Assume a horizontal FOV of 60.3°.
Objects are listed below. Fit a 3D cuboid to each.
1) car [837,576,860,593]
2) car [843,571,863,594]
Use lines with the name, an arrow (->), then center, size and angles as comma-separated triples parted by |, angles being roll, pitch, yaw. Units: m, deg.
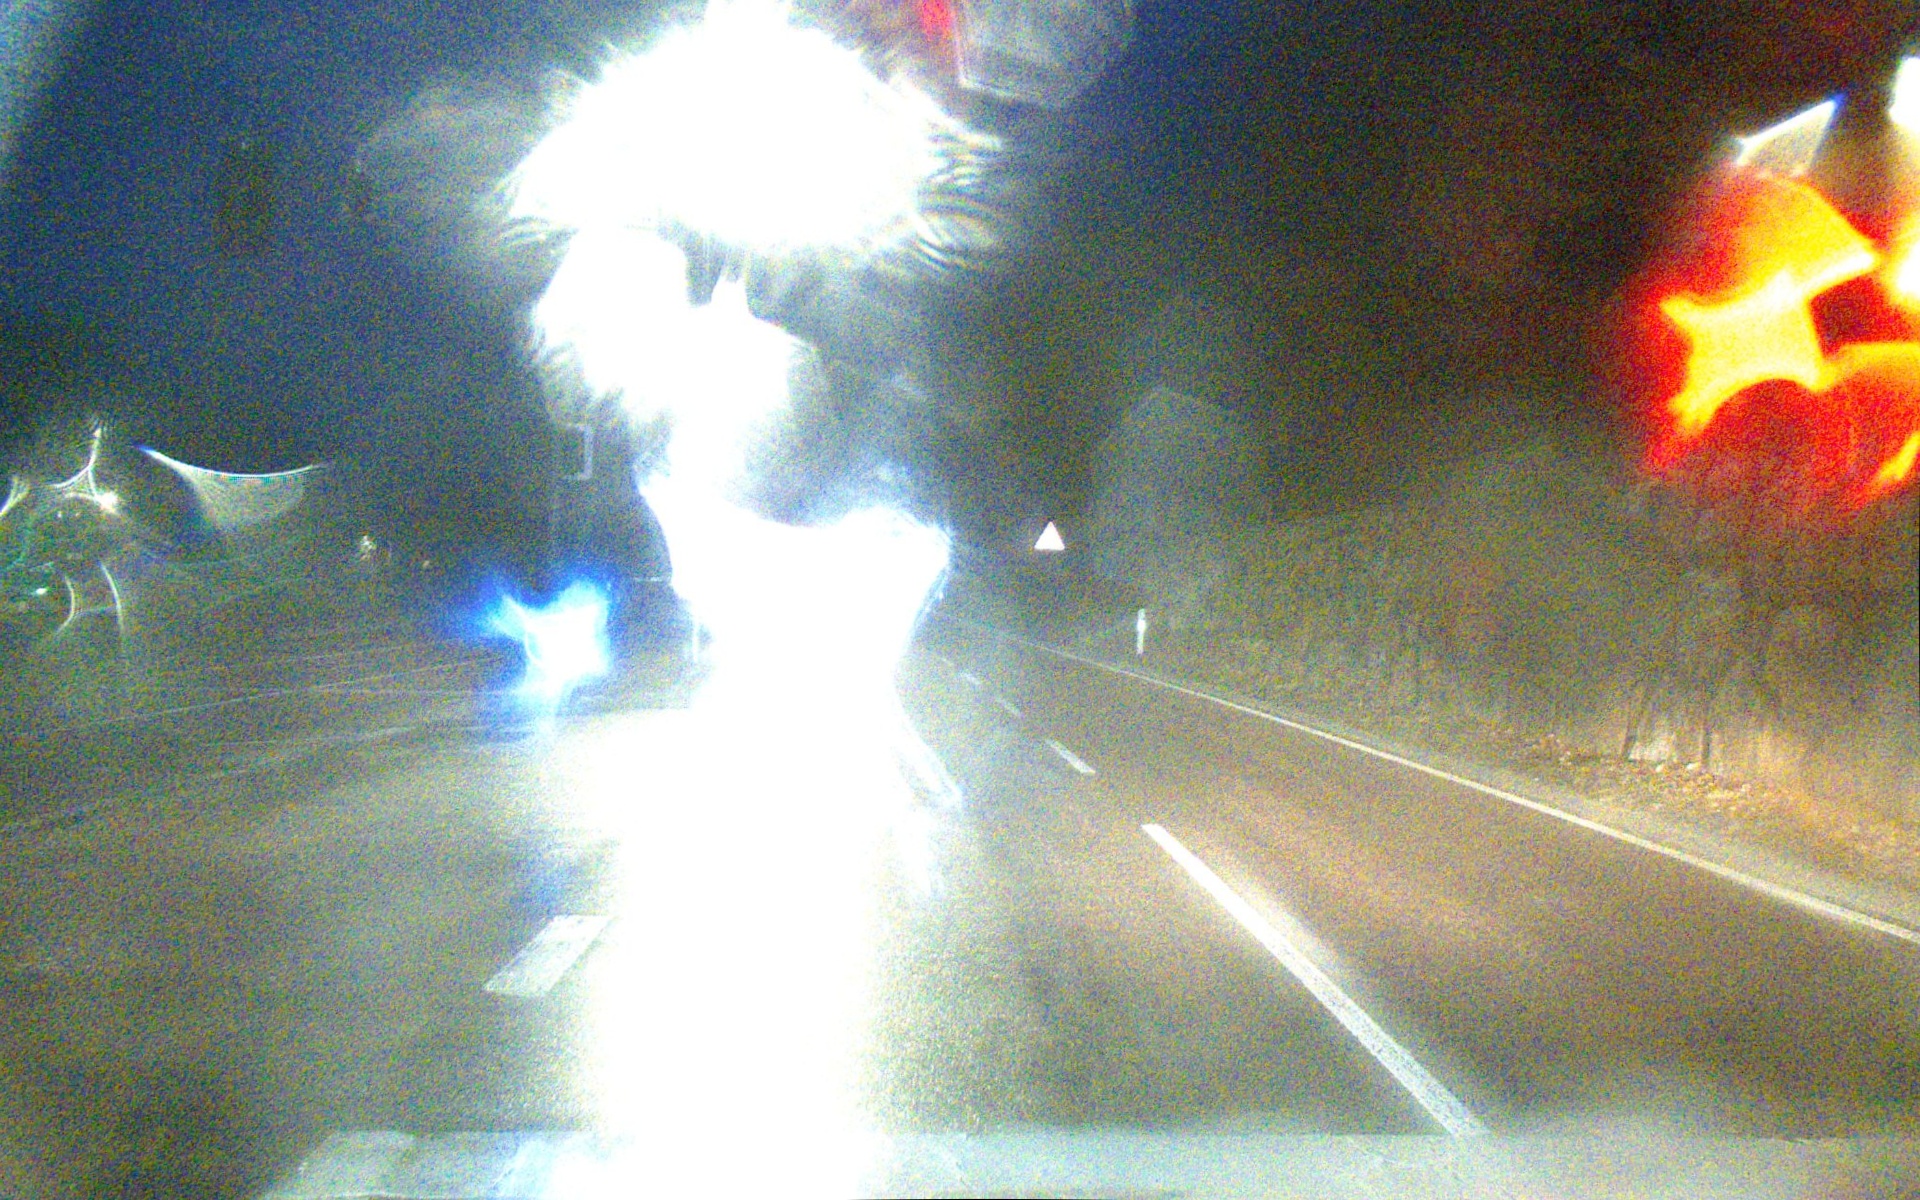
car -> -12.977, -1.819, 192.622 | 1.952, 1.746, 4.002 | 5, -1, 5
car -> -9.926, -1.587, 153.434 | 1.755, 2.057, 4.577 | 1, 0, -3
